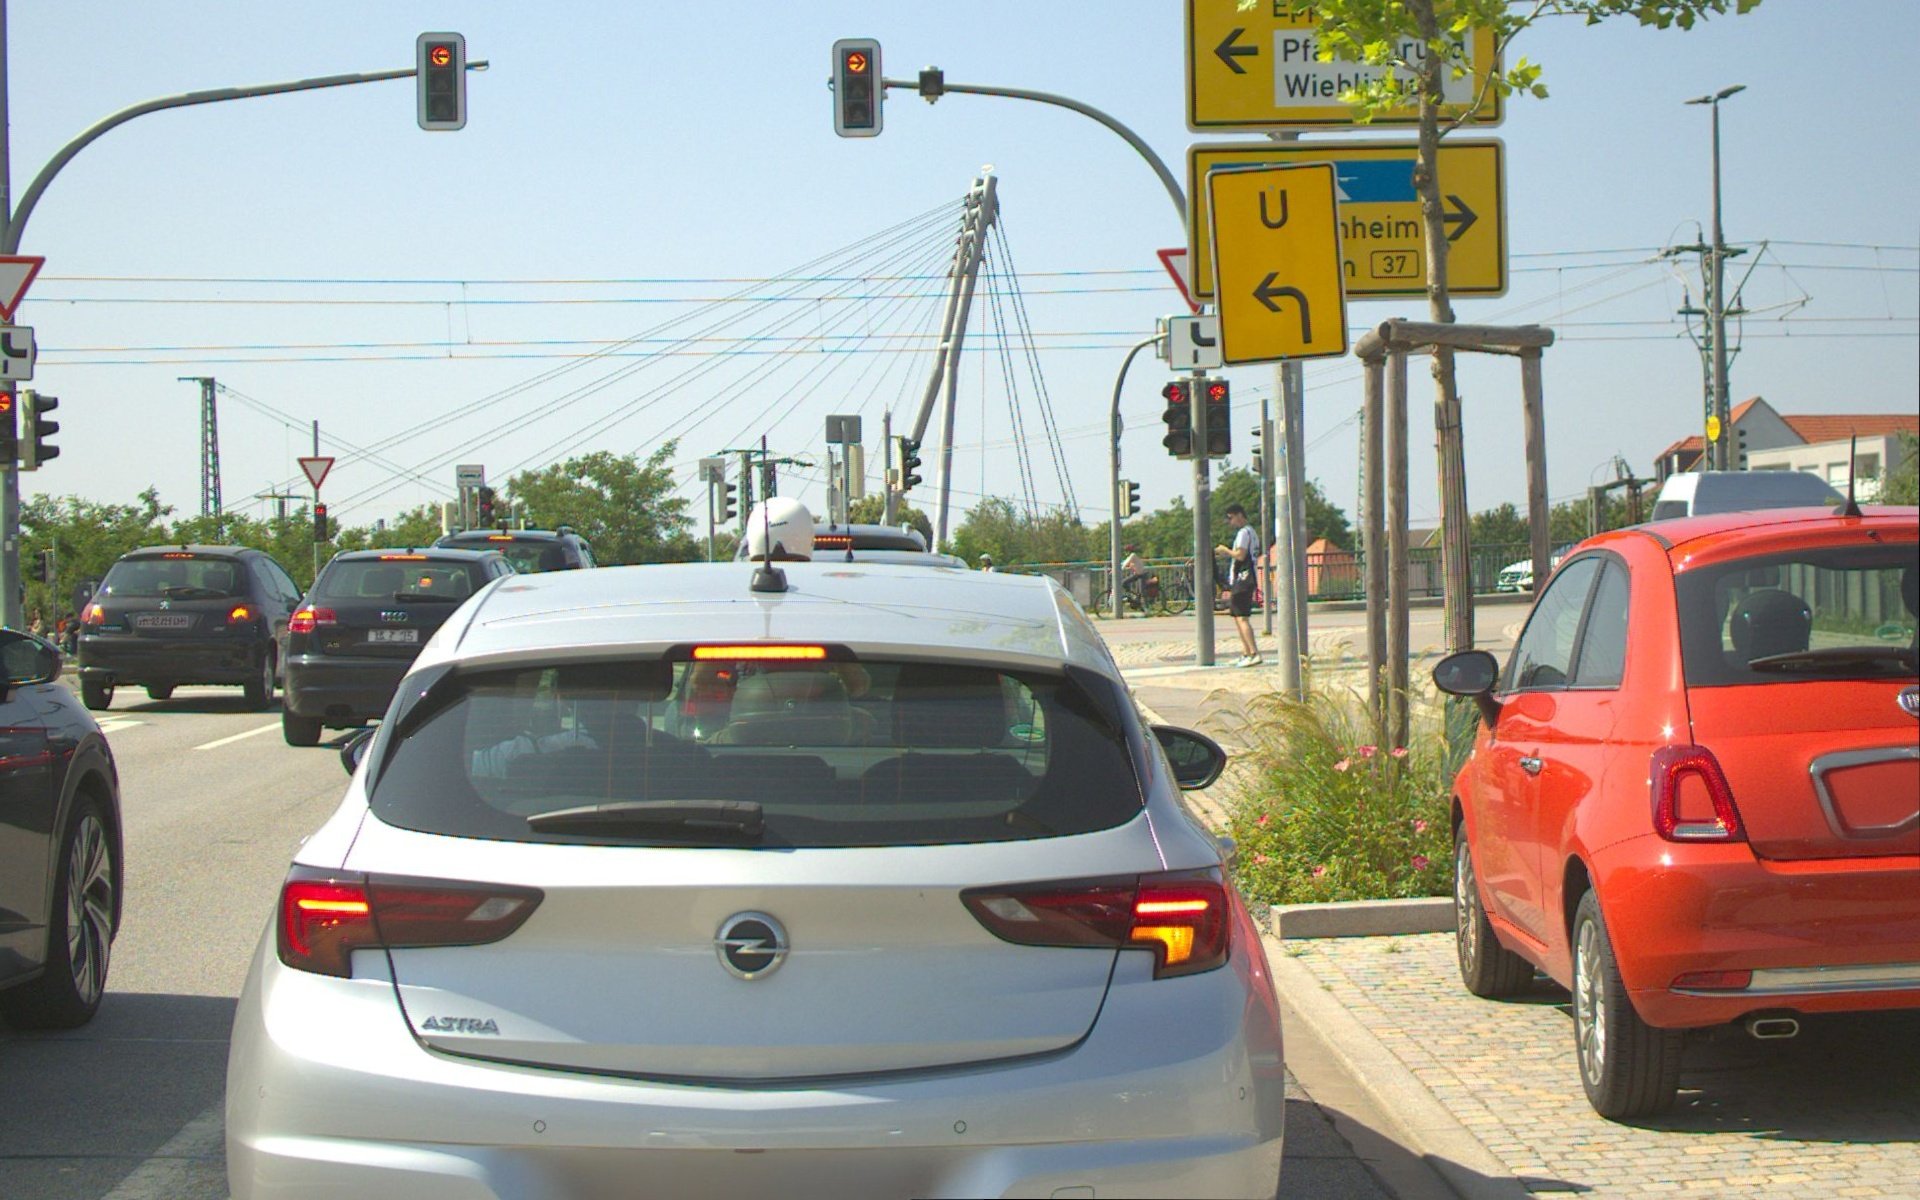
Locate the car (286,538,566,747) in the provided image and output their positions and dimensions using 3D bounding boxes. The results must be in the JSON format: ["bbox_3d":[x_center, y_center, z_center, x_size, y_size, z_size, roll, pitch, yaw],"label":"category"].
[{"bbox_3d":[-3.914,0.277,25.707,1.575,1.429,3.786,1,1,-1],"label":"car"}]

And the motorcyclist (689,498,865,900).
[{"bbox_3d":[-0.642,0.340,12.246,0.581,1.384,0.707,1,0,-1],"label":"motorcyclist"}]

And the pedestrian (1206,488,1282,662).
[{"bbox_3d":[3.058,-0.268,37.092,0.647,1.830,0.798,-3,0,-2],"label":"pedestrian"}]

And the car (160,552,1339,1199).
[{"bbox_3d":[-0.418,0.656,7.122,1.742,1.473,4.001,1,1,-3],"label":"car"}]

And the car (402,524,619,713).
[{"bbox_3d":[-4.070,0.138,31.588,1.649,1.610,3.821,1,1,-3],"label":"car"}]

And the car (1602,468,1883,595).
[{"bbox_3d":[14.919,-1.282,65.594,4.998,2.368,1.784,0,0,-17],"label":"car"}]

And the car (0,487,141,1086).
[{"bbox_3d":[-3.507,0.504,8.823,1.801,1.636,4.366,1,1,-1],"label":"car"}]

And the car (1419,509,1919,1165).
[{"bbox_3d":[2.340,0.514,9.739,1.610,1.491,3.352,-2,1,1],"label":"car"}]

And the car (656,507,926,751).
[{"bbox_3d":[-1.122,0.136,24.399,1.724,1.558,4.000,1,2,0],"label":"car"}]

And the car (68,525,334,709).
[{"bbox_3d":[-6.788,0.122,31.078,1.597,1.542,3.762,1,1,-1],"label":"car"}]

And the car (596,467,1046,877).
[{"bbox_3d":[-0.647,0.265,17.596,1.993,1.814,4.402,1,2,-1],"label":"car"}]
